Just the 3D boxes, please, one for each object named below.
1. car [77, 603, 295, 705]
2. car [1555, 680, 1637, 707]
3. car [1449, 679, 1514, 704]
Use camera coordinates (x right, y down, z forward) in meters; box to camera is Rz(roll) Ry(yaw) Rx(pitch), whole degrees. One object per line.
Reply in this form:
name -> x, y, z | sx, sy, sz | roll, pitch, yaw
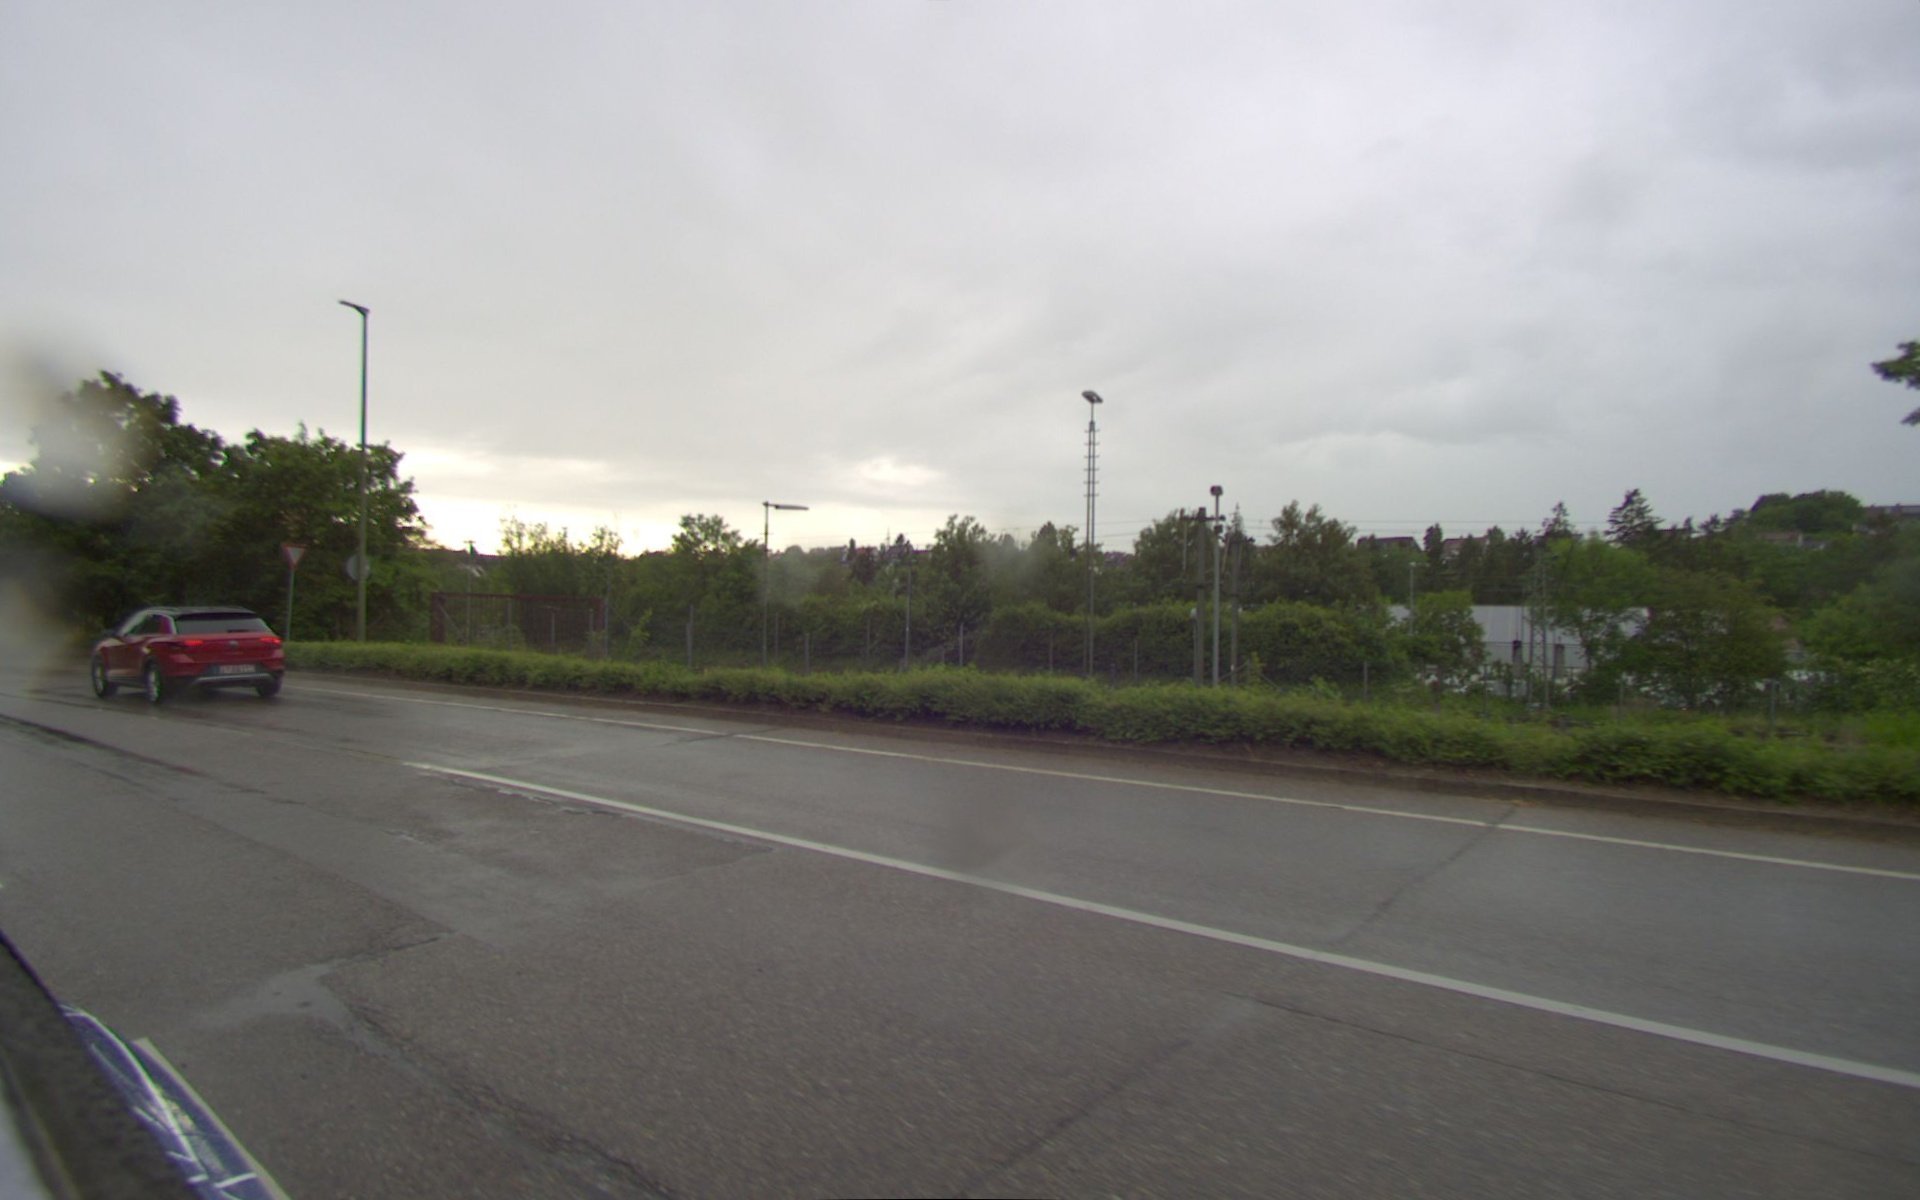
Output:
car -> -13.232, 0.899, 17.256 | 3.988, 1.547, 1.740 | -2, -2, 33
car -> 38.613, 5.657, 61.586 | 3.976, 1.420, 1.785 | 0, -4, 24
car -> 33.161, 5.822, 64.325 | 3.562, 1.420, 1.780 | -1, -4, 32
